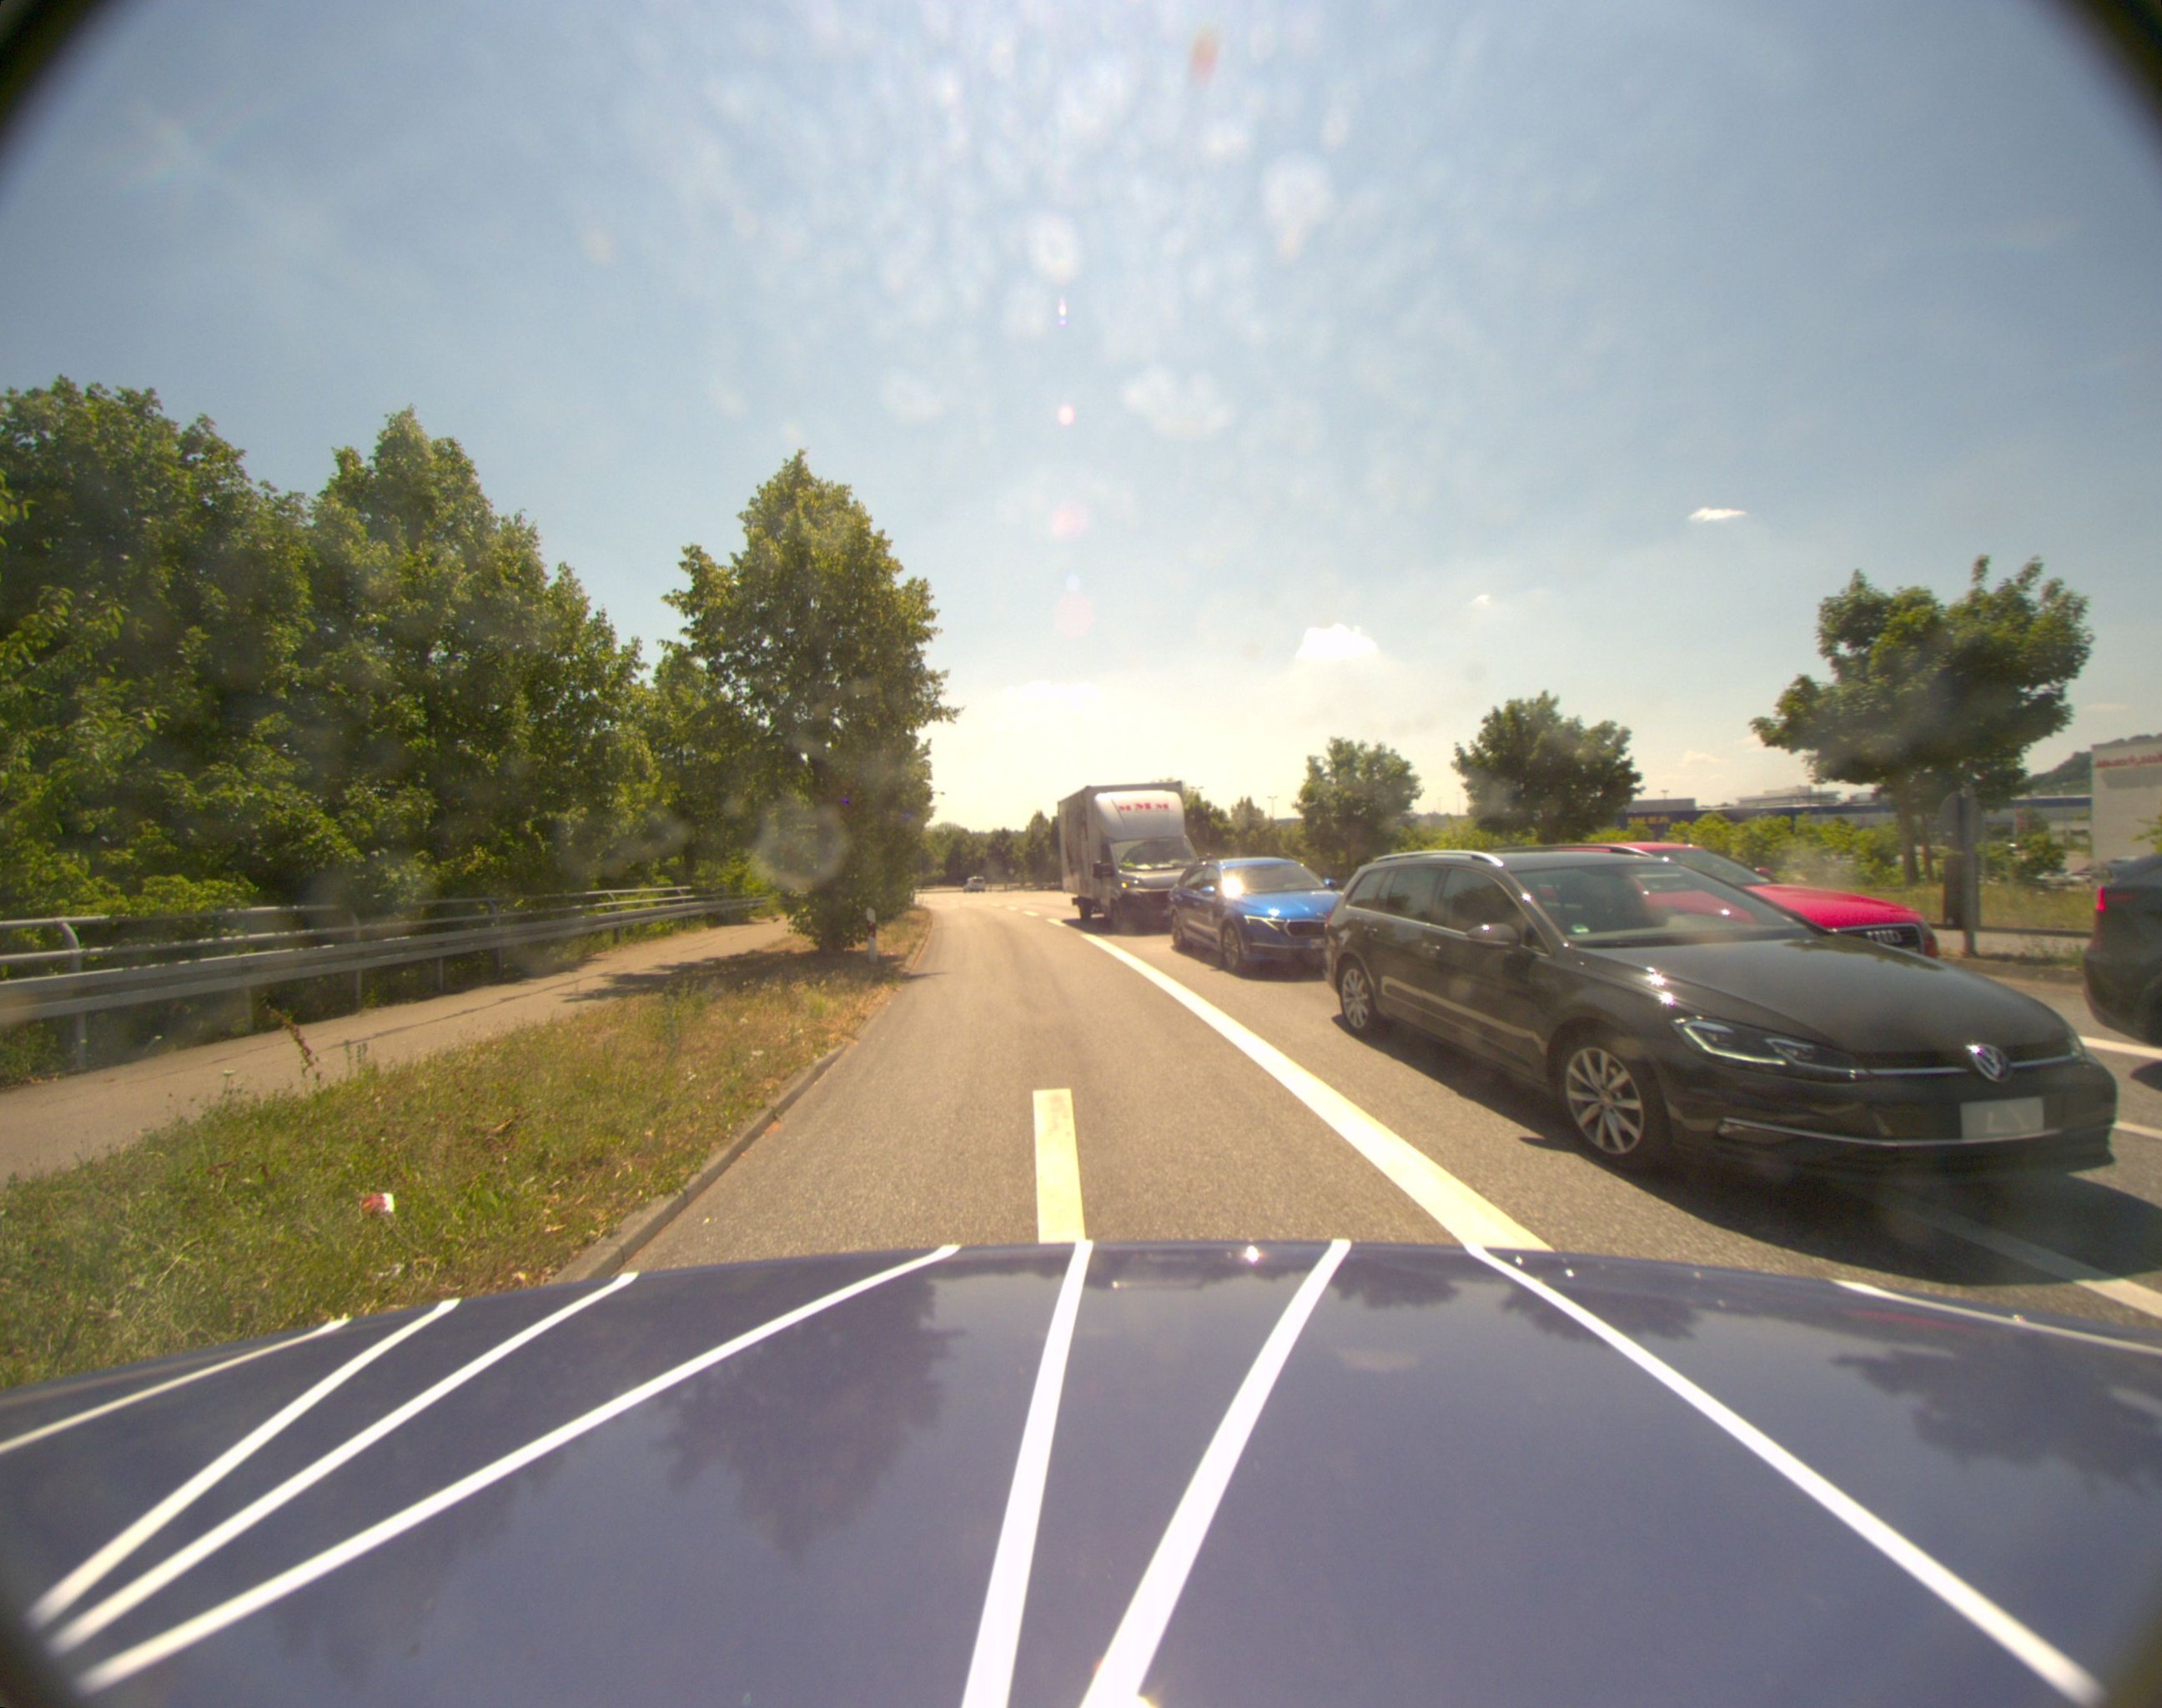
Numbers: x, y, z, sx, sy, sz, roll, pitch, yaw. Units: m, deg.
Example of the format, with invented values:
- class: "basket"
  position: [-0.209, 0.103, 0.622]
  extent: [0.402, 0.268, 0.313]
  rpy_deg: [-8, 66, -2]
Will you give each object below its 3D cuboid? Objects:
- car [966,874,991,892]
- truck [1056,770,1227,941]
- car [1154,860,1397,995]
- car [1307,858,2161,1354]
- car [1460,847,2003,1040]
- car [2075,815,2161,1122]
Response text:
- class: "car"
  position: [-12.421, 3.456, 91.575]
  extent: [2.002, 1.949, 3.993]
  rpy_deg: [-2, 1, -22]
- class: "truck"
  position: [1.122, 0.093, 18.810]
  extent: [2.416, 3.327, 7.198]
  rpy_deg: [-2, -1, -9]
- class: "car"
  position: [2.489, 0.875, 11.008]
  extent: [1.713, 1.454, 4.486]
  rpy_deg: [-3, 0, -9]
- class: "car"
  position: [3.104, 0.812, 4.678]
  extent: [1.783, 1.474, 4.427]
  rpy_deg: [-2, 0, -4]
- class: "car"
  position: [6.133, 0.666, 8.052]
  extent: [1.665, 1.380, 4.447]
  rpy_deg: [-3, 1, -5]
- class: "car"
  position: [6.700, 0.578, 2.097]
  extent: [1.880, 1.591, 4.503]
  rpy_deg: [-2, 1, -5]
